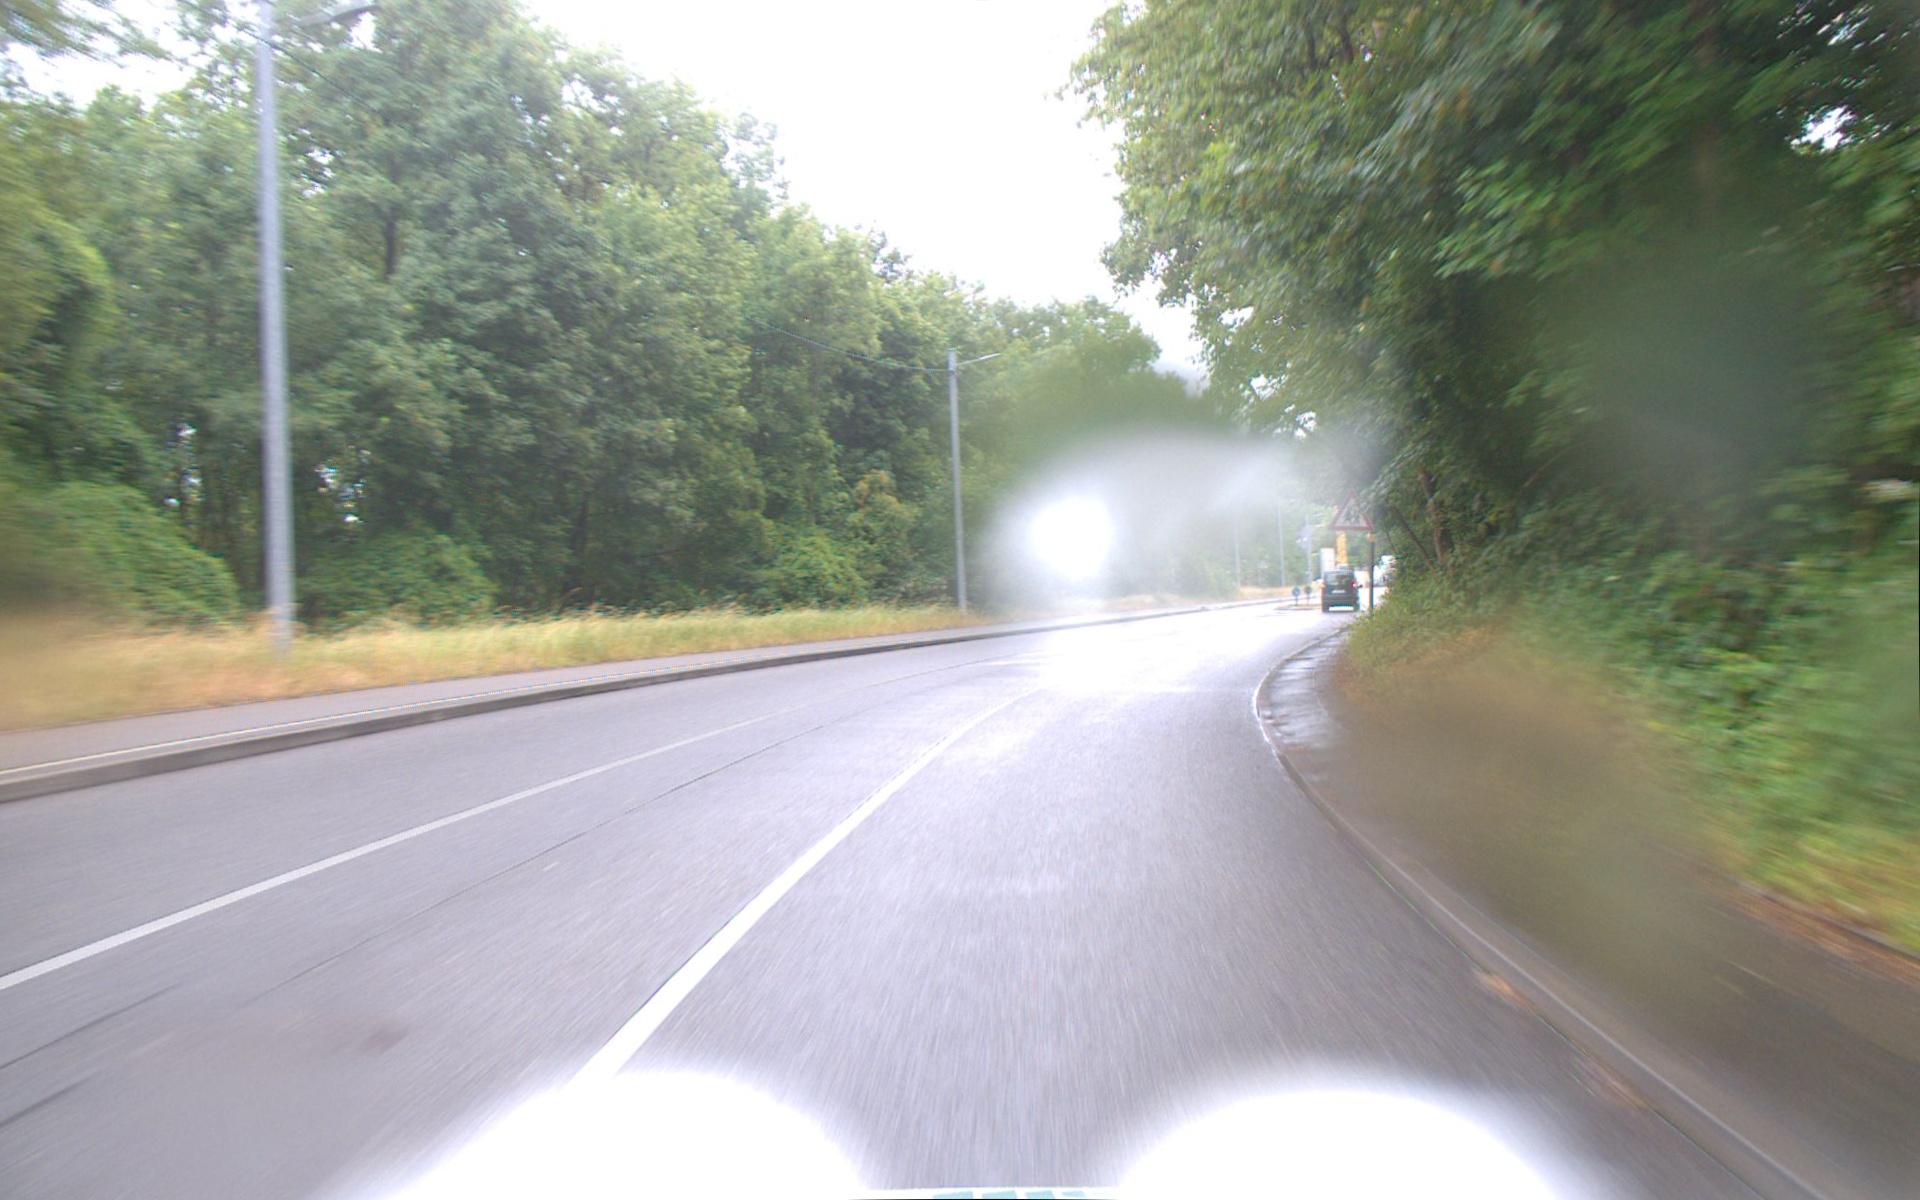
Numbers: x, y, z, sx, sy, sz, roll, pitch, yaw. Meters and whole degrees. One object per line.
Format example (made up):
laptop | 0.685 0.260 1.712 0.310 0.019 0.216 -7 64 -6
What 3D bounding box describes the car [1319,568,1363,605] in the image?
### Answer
car | 17.419 -0.639 75.538 1.632 1.621 3.685 -1 0 18
